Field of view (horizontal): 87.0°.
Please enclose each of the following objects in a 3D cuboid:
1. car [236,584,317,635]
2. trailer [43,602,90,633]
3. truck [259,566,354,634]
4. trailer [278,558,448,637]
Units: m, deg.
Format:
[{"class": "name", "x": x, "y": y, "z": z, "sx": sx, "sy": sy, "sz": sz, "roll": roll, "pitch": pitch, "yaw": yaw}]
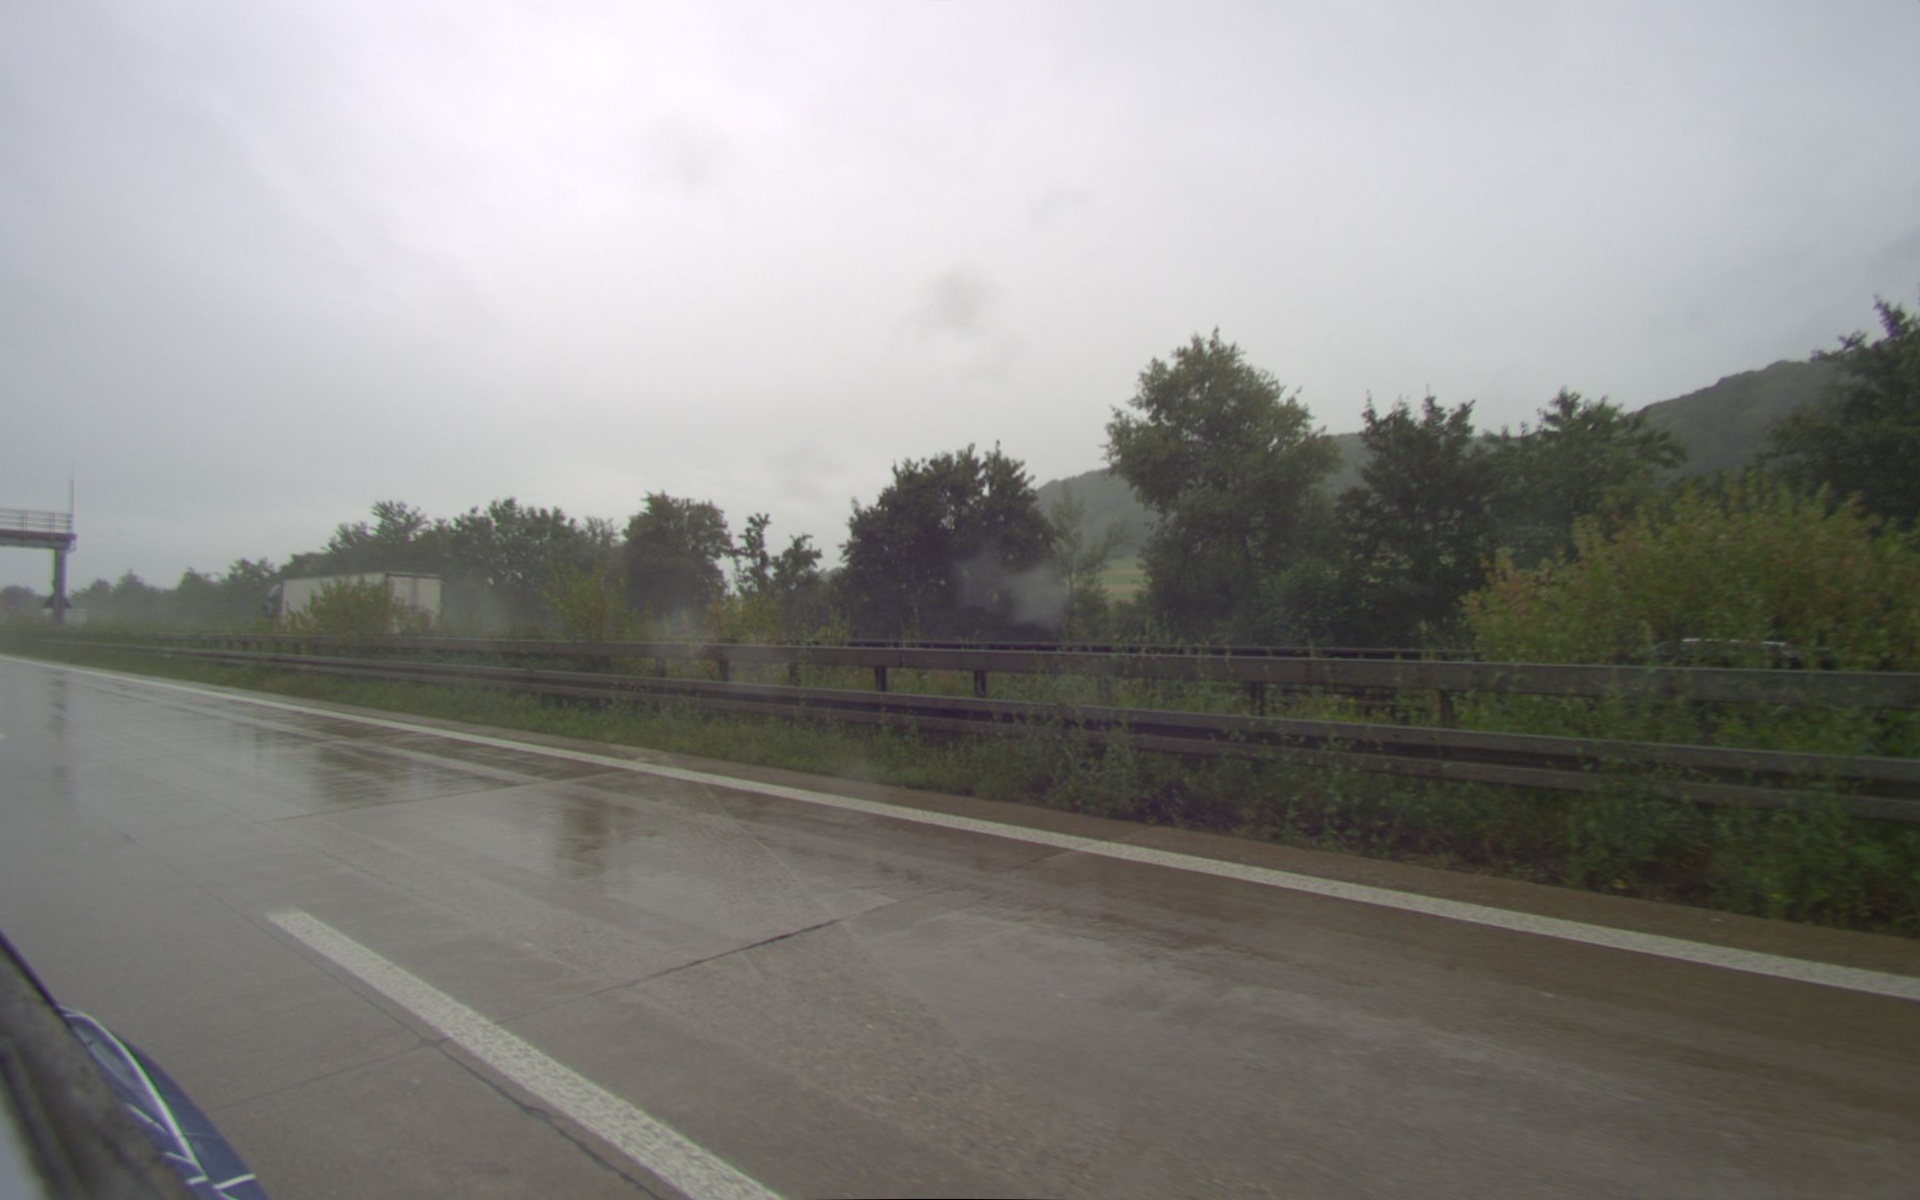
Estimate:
[{"class": "car", "x": -46.718, "y": 0.680, "z": 69.062, "sx": 7.597, "sy": 3.268, "sz": 2.769, "roll": -2, "pitch": -1, "yaw": 41}, {"class": "trailer", "x": -110.864, "y": 2.240, "z": 125.485, "sx": 12.280, "sy": 3.702, "sz": 2.934, "roll": -2, "pitch": -1, "yaw": 41}, {"class": "truck", "x": -35.880, "y": 0.077, "z": 55.527, "sx": 5.726, "sy": 3.536, "sz": 2.786, "roll": -2, "pitch": -1, "yaw": 40}, {"class": "trailer", "x": -30.337, "y": -0.040, "z": 50.947, "sx": 13.694, "sy": 3.569, "sz": 2.824, "roll": -1, "pitch": 0, "yaw": 39}]
